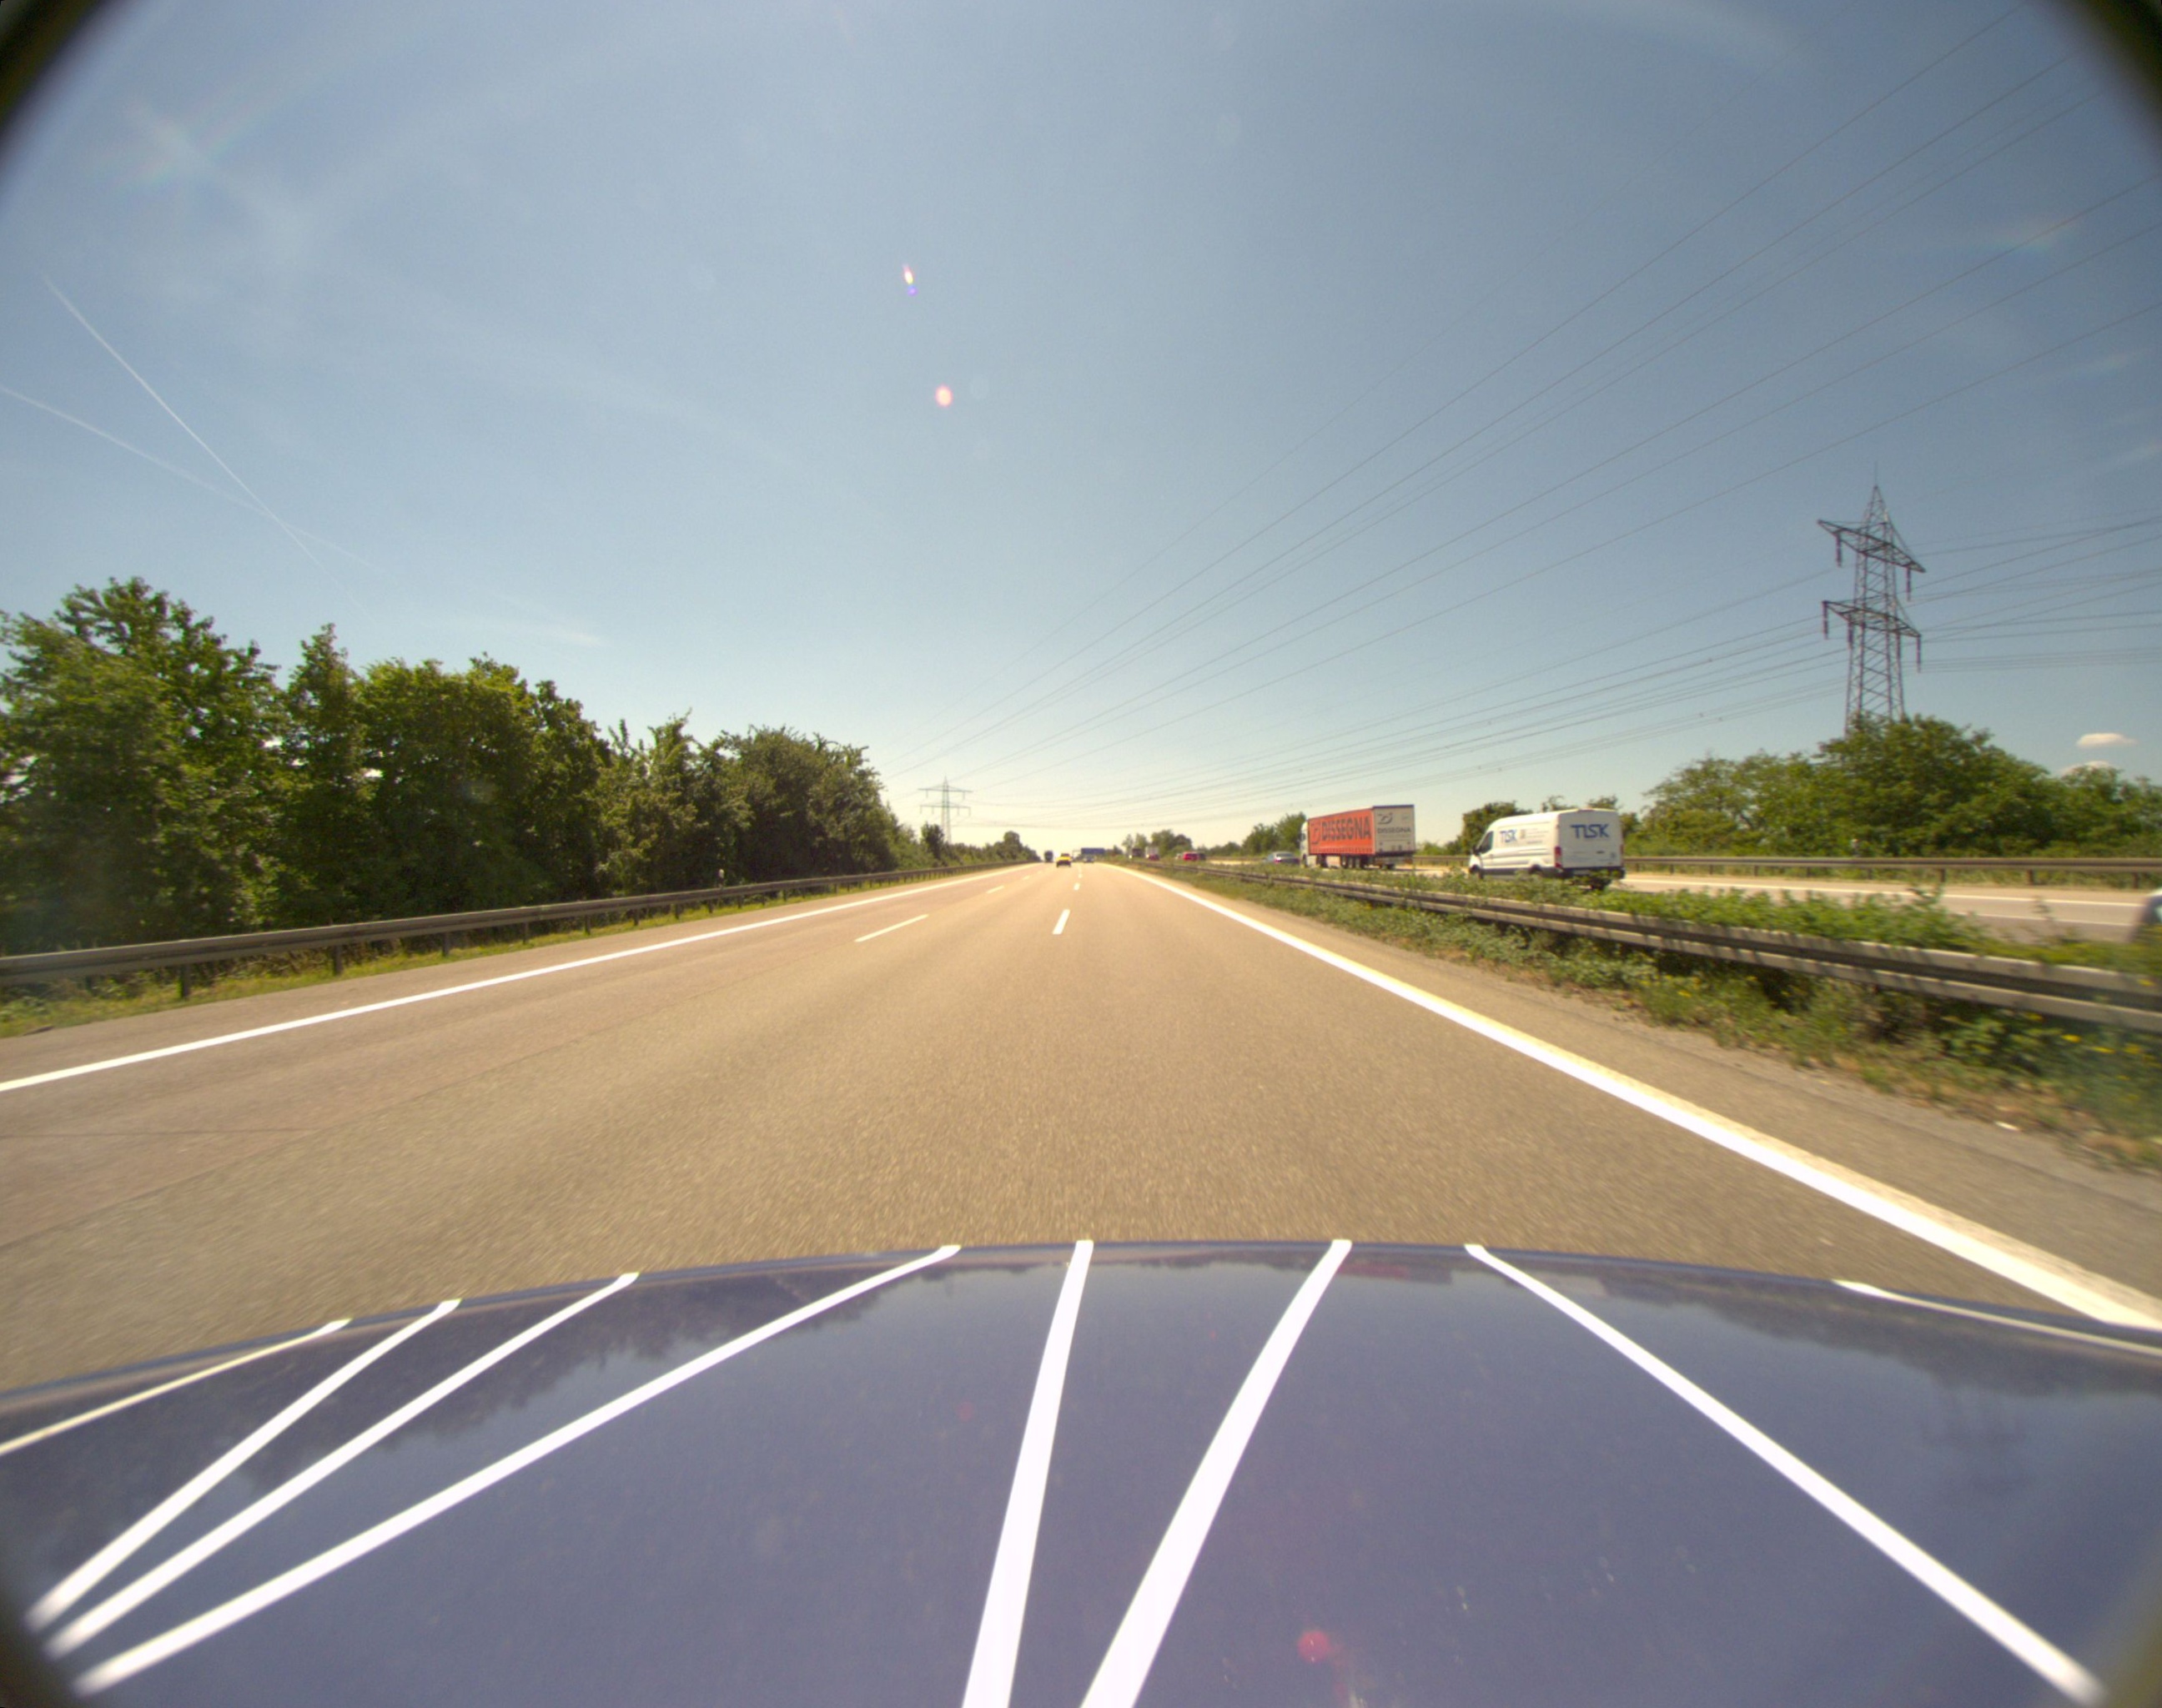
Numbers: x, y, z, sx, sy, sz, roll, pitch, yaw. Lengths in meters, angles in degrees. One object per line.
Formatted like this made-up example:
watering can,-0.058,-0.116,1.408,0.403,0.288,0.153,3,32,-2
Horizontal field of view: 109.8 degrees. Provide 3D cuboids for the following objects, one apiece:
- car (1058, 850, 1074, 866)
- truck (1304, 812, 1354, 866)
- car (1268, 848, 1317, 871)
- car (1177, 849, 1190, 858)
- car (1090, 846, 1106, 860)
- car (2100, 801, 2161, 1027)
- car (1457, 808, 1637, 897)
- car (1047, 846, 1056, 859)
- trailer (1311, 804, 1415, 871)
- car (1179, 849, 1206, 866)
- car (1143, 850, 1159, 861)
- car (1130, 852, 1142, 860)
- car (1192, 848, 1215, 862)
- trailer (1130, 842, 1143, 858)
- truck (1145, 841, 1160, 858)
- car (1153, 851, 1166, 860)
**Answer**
car,-1.977,0.530,99.264,1.956,2.001,5.432,0,-1,-2
truck,19.421,-1.135,59.703,2.488,3.996,4.602,-2,1,2
car,13.307,0.371,48.104,1.998,1.319,4.774,-2,-1,3
car,18.628,-0.080,138.646,1.670,1.523,4.279,-1,0,-1
car,3.110,-0.107,141.177,2.687,2.509,5.967,0,-1,-2
car,10.203,0.453,4.178,1.998,1.928,5.338,-2,-1,0
car,14.876,-0.077,24.881,1.998,2.456,6.490,-2,1,1
car,-8.984,-0.391,233.742,2.687,3.723,6.270,0,-1,-2
trailer,19.229,-1.060,53.124,2.512,4.019,13.585,-2,1,2
car,11.104,0.316,75.975,1.999,1.540,4.447,-1,0,-1
car,10.464,0.236,114.043,1.909,1.471,3.960,-1,0,-1
car,10.865,0.356,150.411,1.999,1.427,4.411,-2,-1,-1
car,15.244,0.078,94.747,1.999,1.663,4.929,-1,0,-1
trailer,16.738,-1.088,230.018,2.655,4.524,13.864,-2,-1,-1
truck,16.872,-1.006,180.866,2.460,3.952,9.671,1,-1,-1
car,15.182,0.231,147.939,1.999,1.608,4.411,-2,-1,-1
